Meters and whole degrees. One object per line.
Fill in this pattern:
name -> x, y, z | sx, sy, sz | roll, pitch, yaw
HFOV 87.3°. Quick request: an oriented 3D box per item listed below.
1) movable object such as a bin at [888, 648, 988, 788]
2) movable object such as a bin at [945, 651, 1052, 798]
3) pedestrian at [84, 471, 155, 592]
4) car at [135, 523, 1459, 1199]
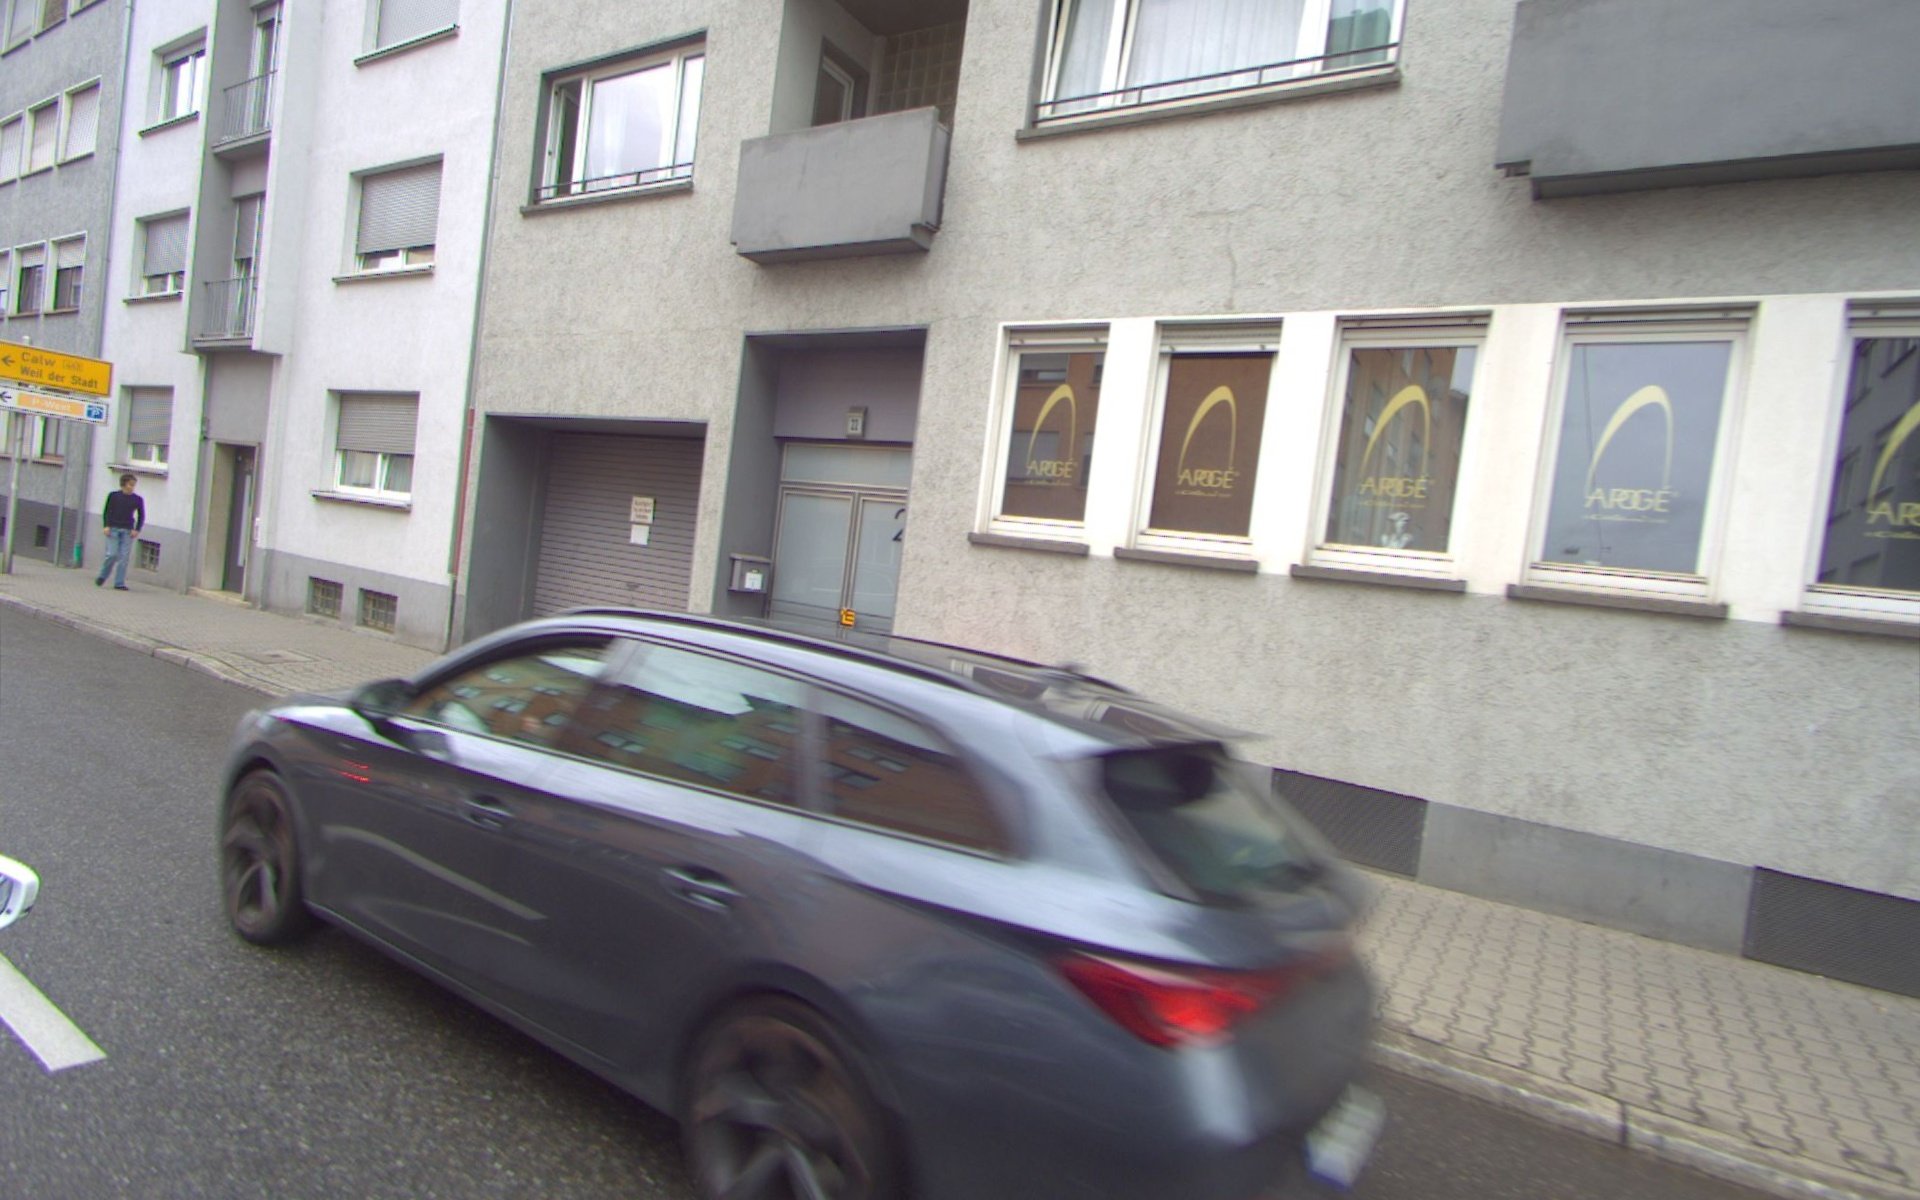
movable object such as a bin -> -0.171, 0.899, 7.850 | 0.467, 0.976, 0.562 | 8, 5, 35
movable object such as a bin -> 0.289, 0.908, 7.542 | 0.555, 0.976, 0.472 | 8, 5, 34
pedestrian -> -13.038, -1.059, 15.596 | 0.730, 1.776, 0.654 | 8, 4, 37
car -> -0.873, 0.706, 3.585 | 4.506, 1.405, 1.737 | 7, 0, 32
